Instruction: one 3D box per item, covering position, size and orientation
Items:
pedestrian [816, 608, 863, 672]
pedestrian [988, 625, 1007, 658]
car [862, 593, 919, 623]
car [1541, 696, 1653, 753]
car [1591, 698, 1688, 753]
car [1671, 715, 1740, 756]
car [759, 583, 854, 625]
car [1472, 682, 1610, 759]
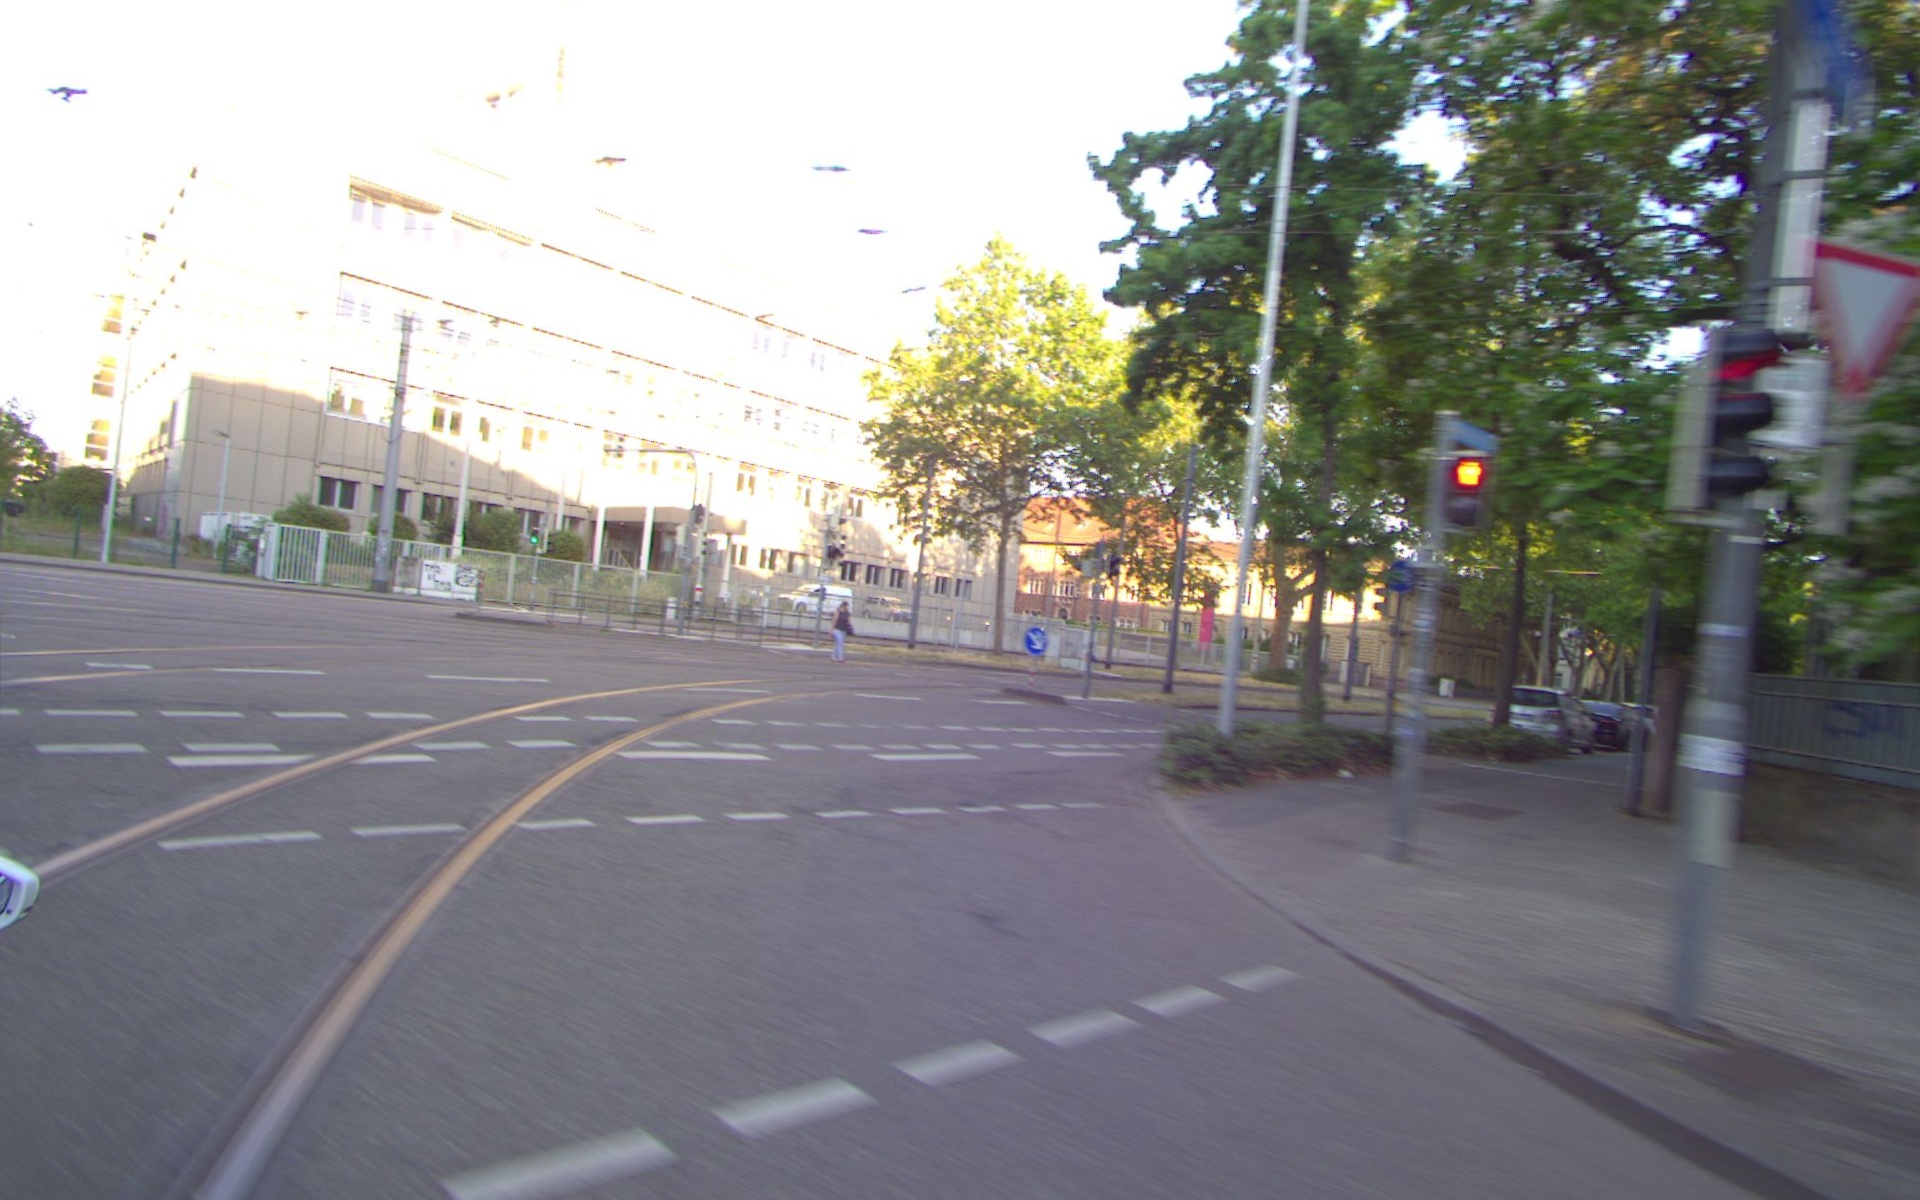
[{"bbox_3d":[-3.301,1.092,27.519,0.818,1.635,0.752,6,0,41],"label":"pedestrian"},{"bbox_3d":[2.057,2.265,55.136,0.868,1.699,1.063,6,0,3],"label":"pedestrian"},{"bbox_3d":[-4.847,0.568,70.160,1.821,1.634,3.954,8,-2,-41],"label":"car"},{"bbox_3d":[18.731,3.662,29.532,3.977,1.380,1.892,8,-3,-45],"label":"car"},{"bbox_3d":[22.866,4.219,33.811,3.977,1.570,1.892,8,-3,-45],"label":"car"},{"bbox_3d":[34.112,6.189,46.013,3.977,1.570,1.892,8,-3,-45],"label":"car"},{"bbox_3d":[-9.074,0.249,59.735,5.063,1.896,2.247,7,-1,-44],"label":"car"},{"bbox_3d":[14.339,2.964,24.739,3.977,1.570,1.892,8,-3,-45],"label":"car"}]
